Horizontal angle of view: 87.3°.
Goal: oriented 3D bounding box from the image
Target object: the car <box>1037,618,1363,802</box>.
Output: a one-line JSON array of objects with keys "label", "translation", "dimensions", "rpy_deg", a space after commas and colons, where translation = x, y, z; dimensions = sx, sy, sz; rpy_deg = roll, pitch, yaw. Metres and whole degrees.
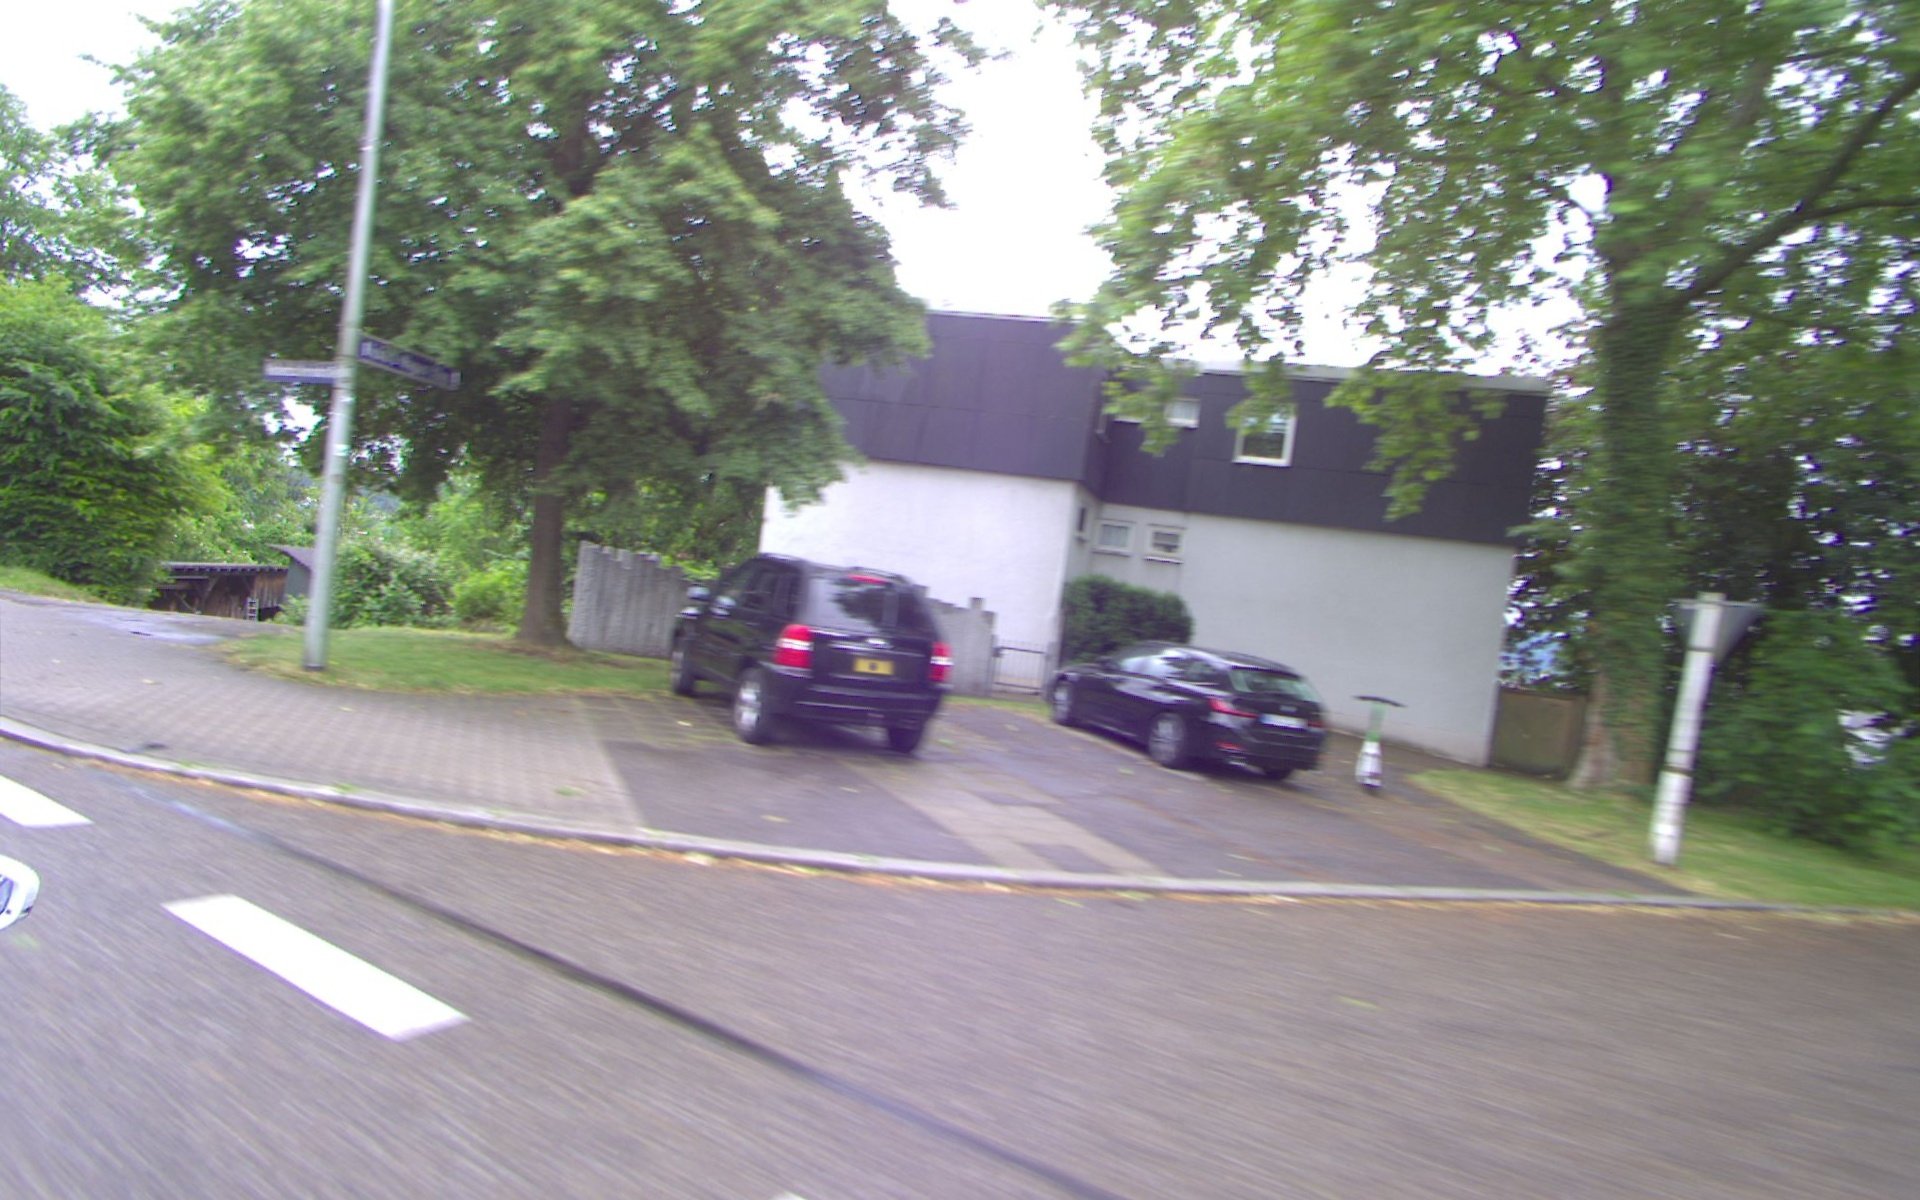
[{"label": "car", "translation": [2.839, 1.274, 13.142], "dimensions": [1.733, 1.487, 4.542], "rpy_deg": [9, 0, -20]}]

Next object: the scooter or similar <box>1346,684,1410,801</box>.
[{"label": "scooter or similar", "translation": [5.269, 1.752, 12.646], "dimensions": [0.552, 1.301, 1.338], "rpy_deg": [6, 0, 26]}]

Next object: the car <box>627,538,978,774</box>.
[{"label": "car", "translation": [-1.970, 0.405, 10.742], "dimensions": [1.933, 1.710, 4.863], "rpy_deg": [9, 0, -30]}]
